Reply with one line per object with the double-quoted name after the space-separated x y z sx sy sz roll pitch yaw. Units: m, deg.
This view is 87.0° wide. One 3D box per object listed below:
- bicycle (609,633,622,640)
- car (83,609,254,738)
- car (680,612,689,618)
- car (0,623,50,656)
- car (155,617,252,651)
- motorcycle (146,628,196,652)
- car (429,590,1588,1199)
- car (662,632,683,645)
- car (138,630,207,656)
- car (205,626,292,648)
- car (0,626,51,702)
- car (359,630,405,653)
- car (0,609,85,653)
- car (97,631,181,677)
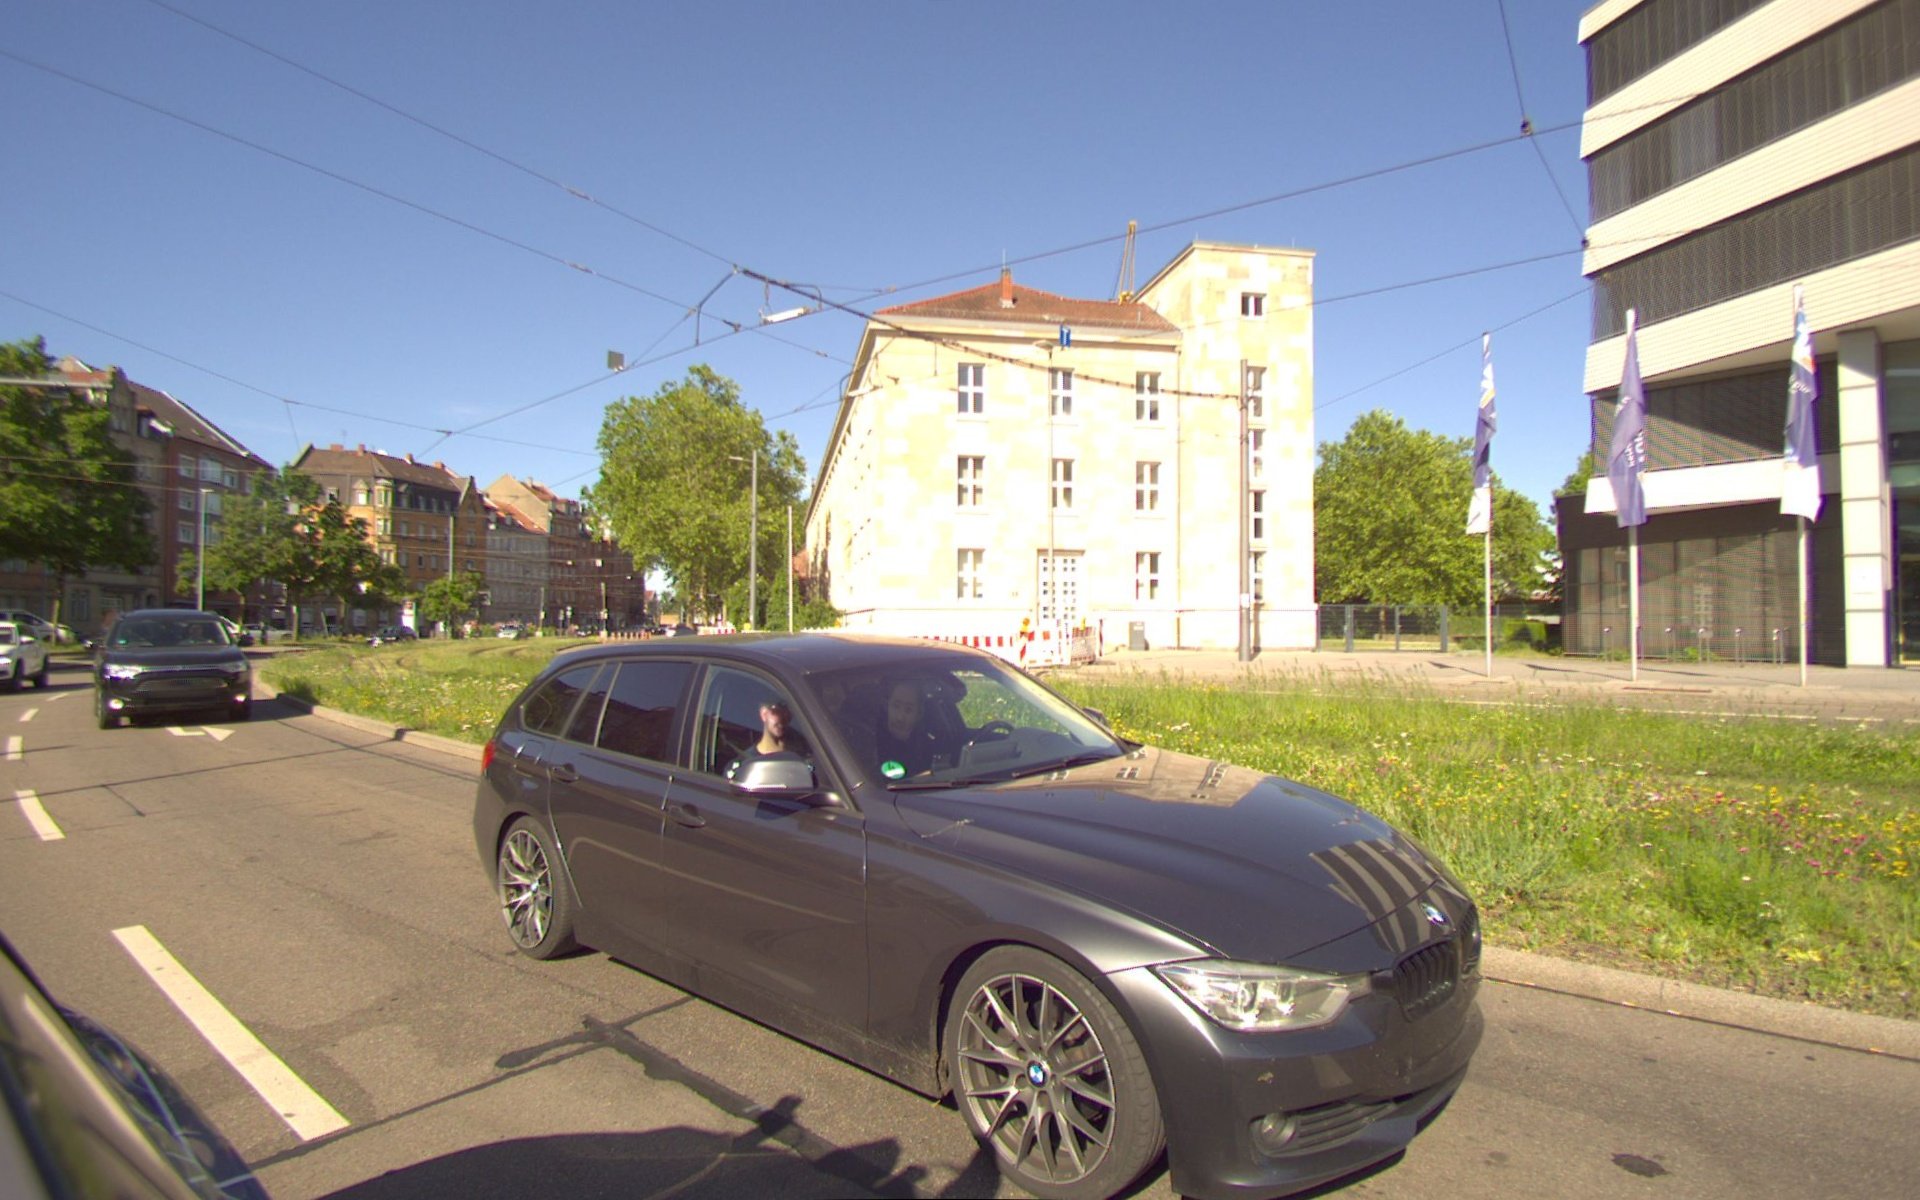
-55.873 5.875 164.188 1.896 1.146 0.843 1 -2 5 "bicycle"
-12.423 1.036 15.766 1.814 1.695 4.649 0 -1 -42 "car"
-64.862 3.483 238.384 1.769 1.440 4.386 0 -2 -11 "car"
-44.467 1.788 46.382 3.970 1.490 1.814 4 -3 -44 "car"
-49.503 2.237 66.295 2.021 2.091 4.809 -1 -4 44 "car"
-49.012 2.473 62.866 0.851 1.431 2.238 -1 -3 30 "motorcycle"
-0.272 0.762 4.010 4.465 1.434 1.716 -2 1 41 "car"
-31.810 4.259 111.903 1.806 1.464 4.179 1 -2 -10 "car"
-58.995 3.194 75.941 1.969 1.484 4.498 -7 2 -8 "car"
-51.280 2.710 73.002 4.807 1.446 2.022 4 -4 -44 "car"
-22.649 1.417 23.349 1.772 1.648 4.406 1 -2 -33 "car"
-37.708 2.672 66.129 1.858 1.438 4.390 0 -2 -19 "car"
-45.796 1.496 48.940 5.105 2.028 2.104 4 -3 -40 "car"
-30.917 1.976 38.241 1.966 1.630 4.275 1 -2 -32 "car"
